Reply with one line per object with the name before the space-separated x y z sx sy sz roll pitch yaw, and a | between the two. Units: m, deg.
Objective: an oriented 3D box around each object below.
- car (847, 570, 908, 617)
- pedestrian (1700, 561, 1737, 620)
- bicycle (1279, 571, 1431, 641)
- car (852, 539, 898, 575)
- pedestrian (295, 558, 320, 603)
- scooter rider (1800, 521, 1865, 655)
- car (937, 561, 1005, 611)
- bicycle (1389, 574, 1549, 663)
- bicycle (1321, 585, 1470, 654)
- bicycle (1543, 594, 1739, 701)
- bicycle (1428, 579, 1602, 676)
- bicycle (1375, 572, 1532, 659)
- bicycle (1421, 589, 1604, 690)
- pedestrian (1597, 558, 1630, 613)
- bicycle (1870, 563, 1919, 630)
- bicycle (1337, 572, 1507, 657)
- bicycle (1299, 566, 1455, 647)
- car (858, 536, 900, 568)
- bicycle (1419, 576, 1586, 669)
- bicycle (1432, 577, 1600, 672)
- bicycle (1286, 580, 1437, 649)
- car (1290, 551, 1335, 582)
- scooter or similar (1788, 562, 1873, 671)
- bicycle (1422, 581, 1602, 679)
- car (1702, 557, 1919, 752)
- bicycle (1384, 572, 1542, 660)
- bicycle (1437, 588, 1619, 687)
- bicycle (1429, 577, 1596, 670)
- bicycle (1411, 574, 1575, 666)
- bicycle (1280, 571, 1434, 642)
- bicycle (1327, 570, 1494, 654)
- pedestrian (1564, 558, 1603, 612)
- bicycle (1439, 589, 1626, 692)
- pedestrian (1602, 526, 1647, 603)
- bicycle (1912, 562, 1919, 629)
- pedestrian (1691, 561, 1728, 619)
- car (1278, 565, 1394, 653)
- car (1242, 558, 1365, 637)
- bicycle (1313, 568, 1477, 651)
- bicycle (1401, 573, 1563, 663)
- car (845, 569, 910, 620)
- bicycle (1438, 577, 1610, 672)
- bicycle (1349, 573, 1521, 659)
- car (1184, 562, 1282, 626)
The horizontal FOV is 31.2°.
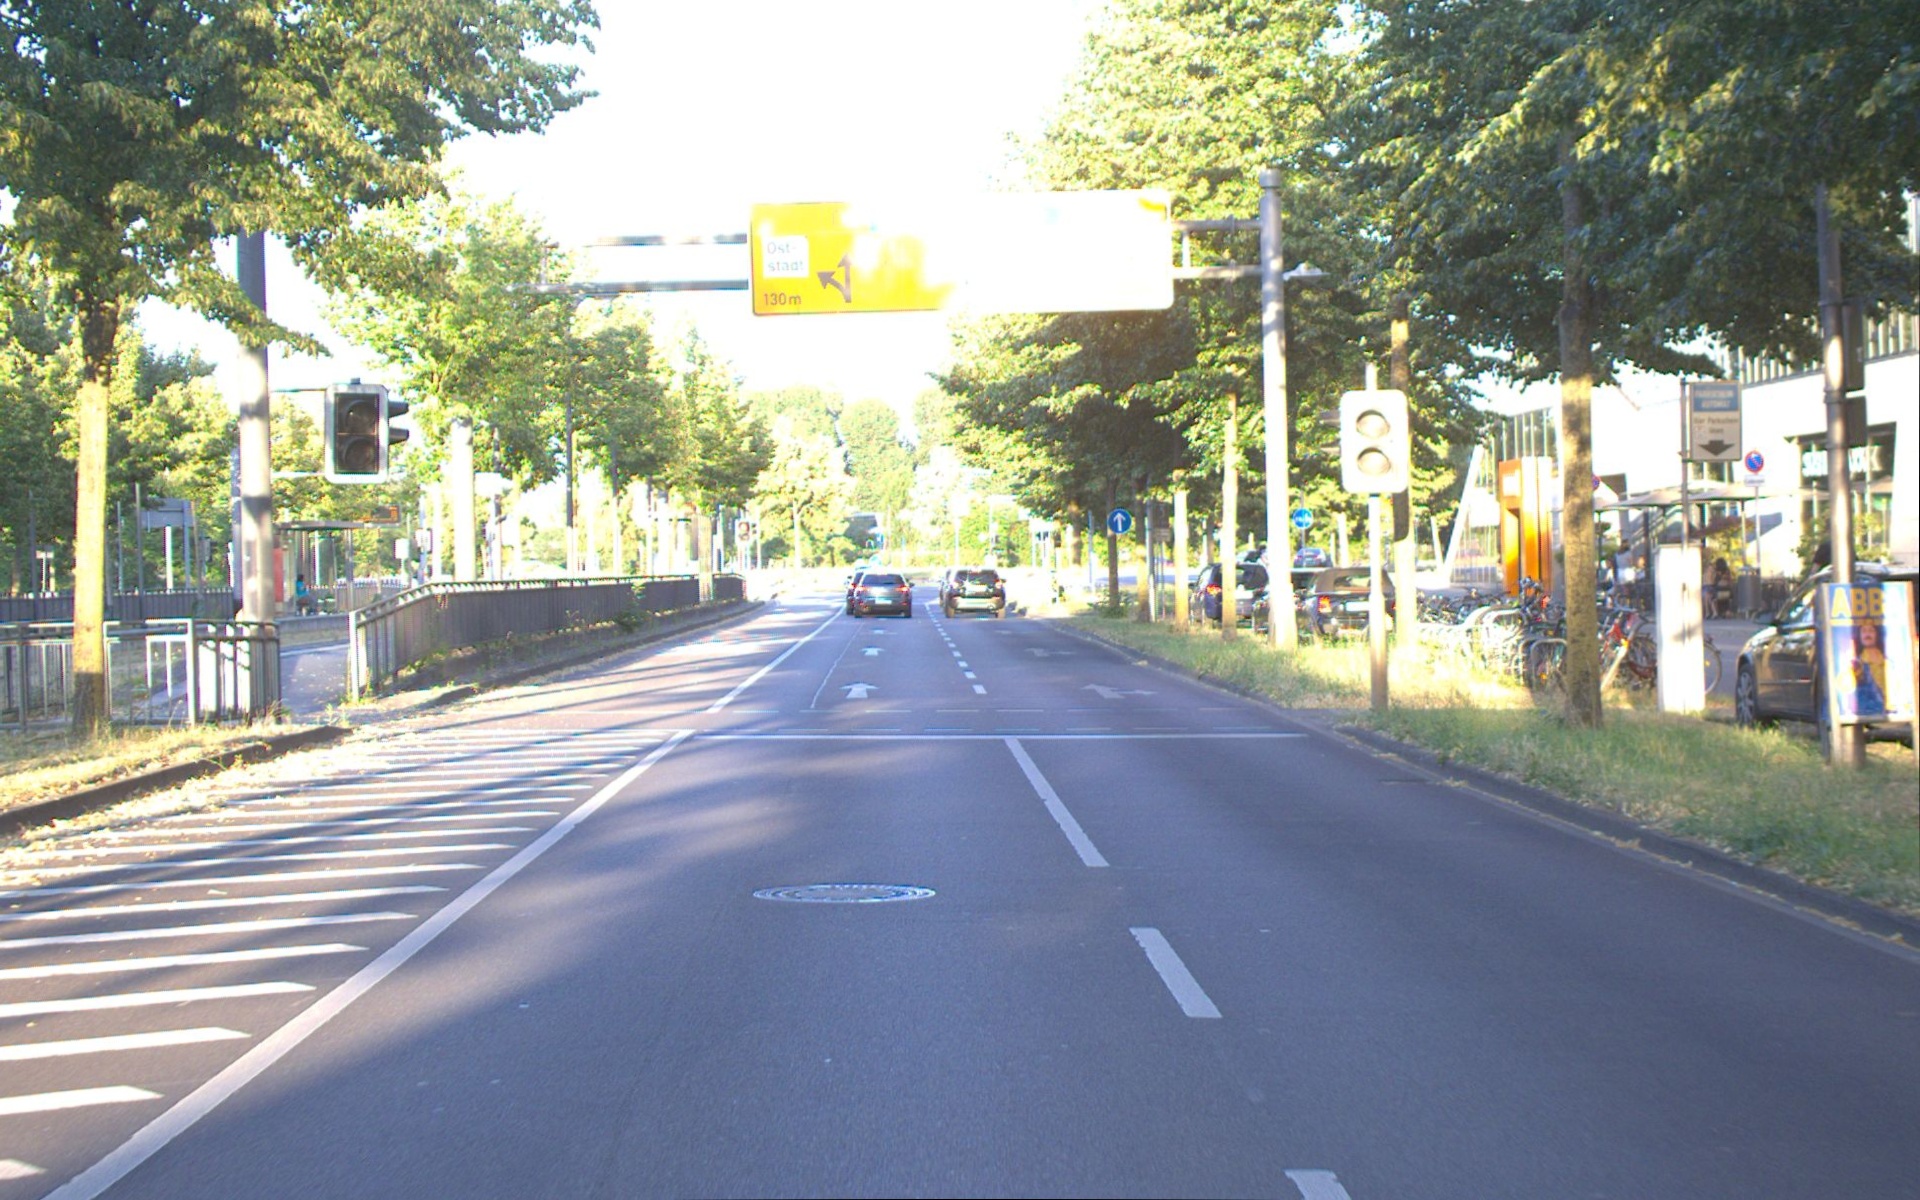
car | -2.689 -0.226 111.470 1.911 1.481 4.000 -1 1 -2
pedestrian | 15.568 -0.192 70.566 0.571 1.191 0.806 -1 0 1
bicycle | 5.790 0.082 50.414 2.142 0.936 0.452 2 0 -7
car | -3.609 -1.823 146.122 1.911 1.481 4.000 -1 1 -2
pedestrian | -19.518 -0.591 102.818 0.614 1.315 0.745 -1 0 -4
scooter rider | 10.746 -0.150 42.373 0.525 1.633 0.832 -1 0 -3
car | 0.326 -0.446 104.601 1.911 1.481 4.000 -1 1 -2
bicycle | 6.507 0.230 44.011 1.941 1.050 0.404 2 0 -4
bicycle | 6.573 0.292 51.899 2.142 0.936 0.443 2 0 -7
bicycle | 7.274 0.501 36.766 1.941 1.050 0.545 2 0 -1
bicycle | 6.539 0.323 40.511 1.941 1.050 0.409 2 0 -8
bicycle | 6.450 0.206 44.945 1.941 1.050 0.404 2 0 -7
bicycle | 6.200 0.448 38.591 1.941 1.050 0.545 2 0 -15
pedestrian | 15.621 -0.350 82.163 0.579 1.278 0.739 -1 0 -5
bicycle | 16.336 -0.070 58.091 1.784 1.100 0.509 -1 0 -5
bicycle | 6.209 0.189 46.248 2.142 1.050 0.562 2 0 -7
bicycle | 5.880 0.093 48.501 2.142 1.050 0.300 2 0 -7
car | -3.850 -2.263 162.653 1.911 1.481 4.000 -1 1 -2
bicycle | 6.657 0.275 42.184 1.941 1.050 0.414 2 0 -8
bicycle | 6.686 0.295 41.343 1.941 1.050 0.314 2 0 -8
bicycle | 5.949 0.211 50.950 2.142 0.936 0.443 2 0 -7
car | 20.168 -1.944 196.749 1.995 1.722 3.997 -1 1 14
scooter or similar | 10.748 0.195 42.492 0.525 1.306 1.664 -1 1 -3
bicycle | 6.413 0.345 39.957 1.941 1.050 0.545 2 0 -8
car | 7.423 0.374 27.642 1.869 1.406 4.646 -1 1 0
bicycle | 6.509 0.209 44.482 1.941 1.050 0.404 2 0 -7
bicycle | 6.496 0.427 39.320 1.941 1.050 0.545 2 0 -11
bicycle | 6.702 0.286 41.702 1.941 1.050 0.348 2 0 -8
bicycle | 6.627 0.247 42.760 1.941 1.050 0.414 2 0 -8
bicycle | 5.759 0.097 49.922 2.142 0.936 0.443 2 0 -7
bicycle | 6.141 0.167 46.914 2.142 1.050 0.571 2 0 -7
pedestrian | 14.958 -0.363 82.509 0.625 1.278 0.717 -1 1 -22
bicycle | 6.332 0.445 38.013 1.941 1.050 0.545 2 0 -15
pedestrian | 15.192 -0.807 78.563 0.703 1.731 0.689 -1 1 -31
bicycle | 16.467 -0.090 55.993 1.784 1.100 0.509 -1 0 -5
pedestrian | 15.581 -0.213 71.508 0.571 1.191 0.806 -1 0 -1
car | 6.590 0.132 60.533 1.575 1.467 3.881 -1 1 0
car | 6.725 -0.071 67.674 1.777 1.467 4.289 -1 1 -3
bicycle | 6.010 0.130 47.500 2.142 1.050 0.525 2 0 -7
bicycle | 6.583 0.226 43.390 1.941 1.050 0.414 2 0 -8
car | -2.535 -0.179 104.950 1.911 1.481 4.000 -1 1 -2
bicycle | 6.717 0.293 40.956 1.941 1.050 0.409 2 0 -8
bicycle | 6.291 0.211 45.561 2.142 1.050 0.571 2 0 -7
car | 6.543 -0.165 82.691 1.756 1.461 4.159 -1 1 -3
